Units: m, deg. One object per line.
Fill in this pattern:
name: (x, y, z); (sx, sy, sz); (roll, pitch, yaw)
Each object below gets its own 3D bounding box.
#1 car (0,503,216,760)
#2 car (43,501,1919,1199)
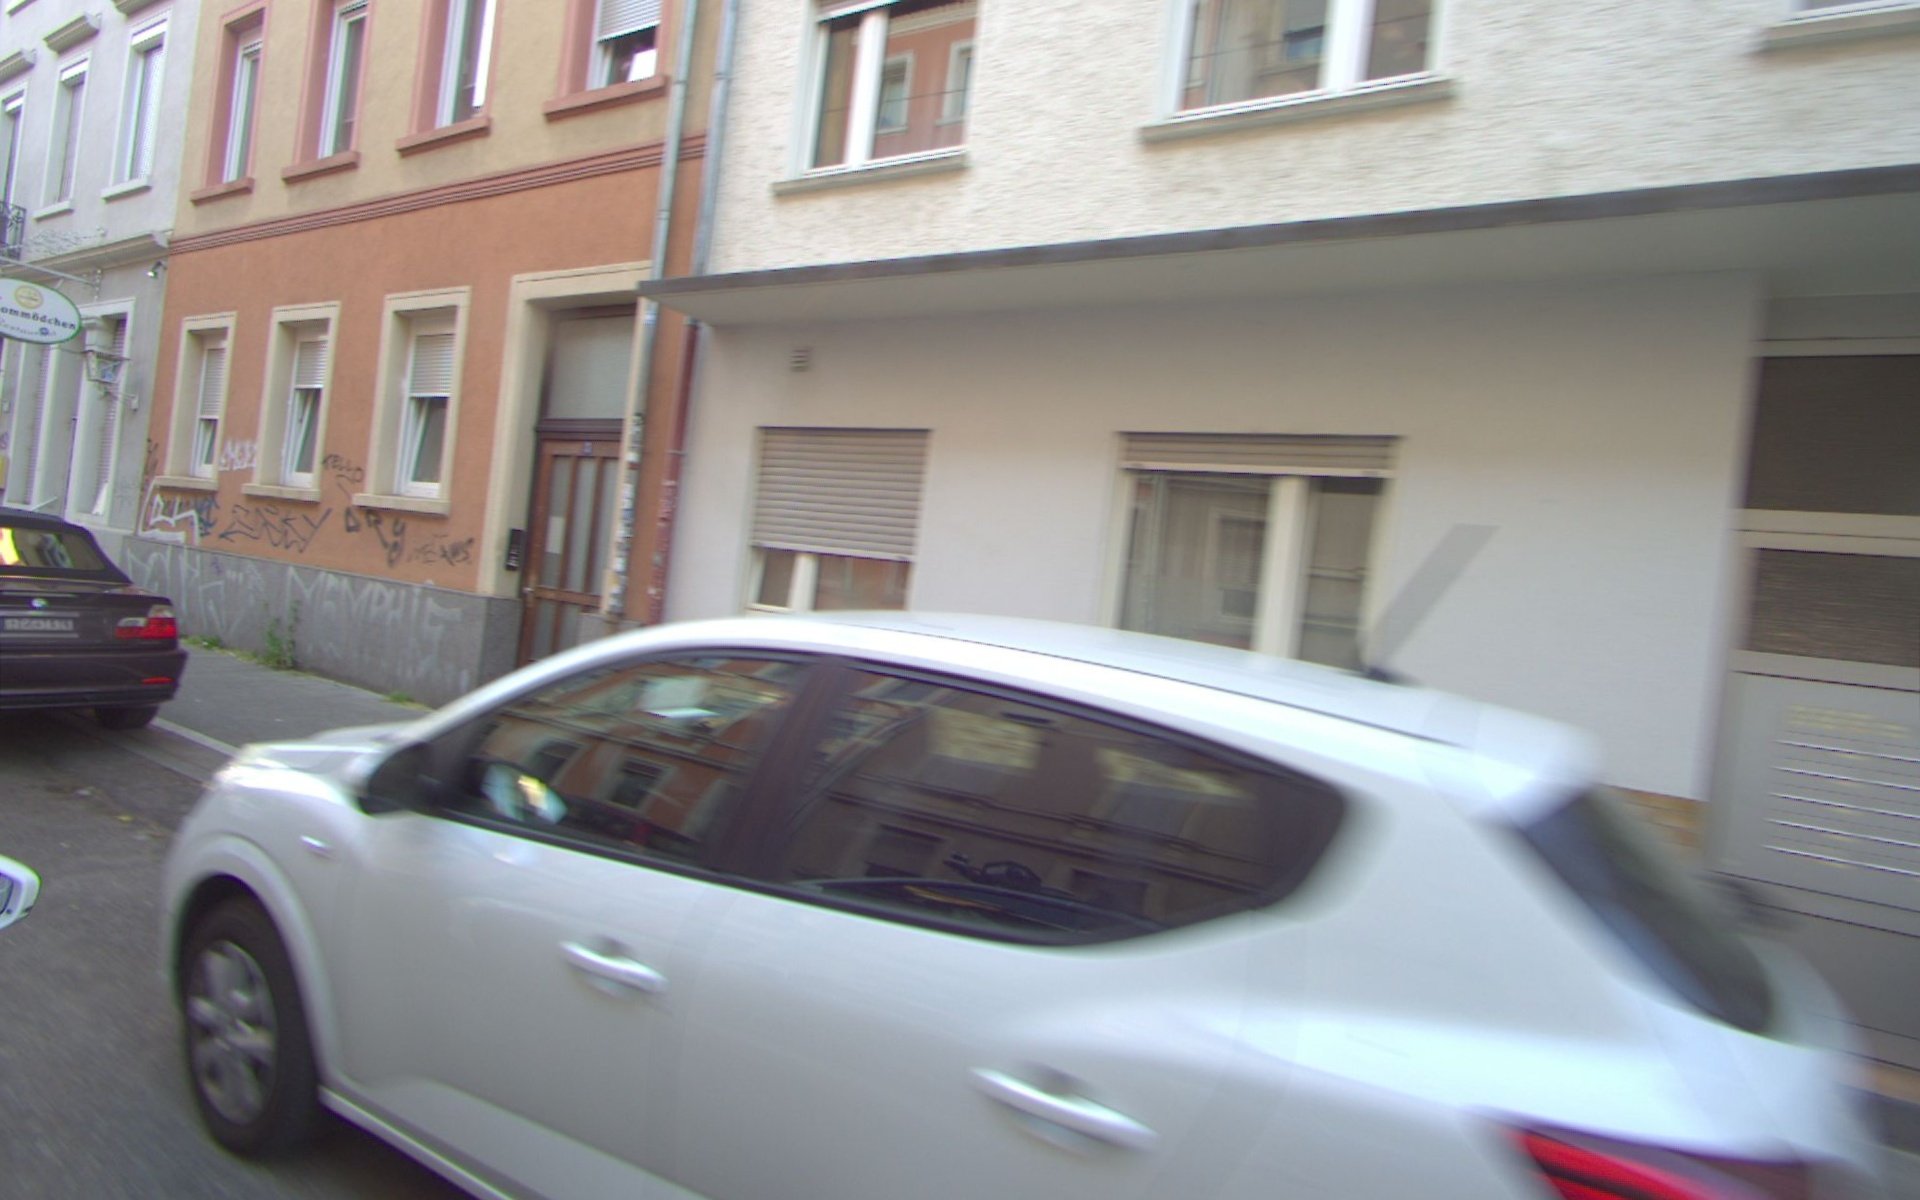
car: (-6.788, -0.001, 6.516); (3.932, 1.355, 1.660); (7, 0, 30)
car: (-0.329, 0.737, 2.577); (3.952, 1.488, 1.734); (7, 0, 29)
